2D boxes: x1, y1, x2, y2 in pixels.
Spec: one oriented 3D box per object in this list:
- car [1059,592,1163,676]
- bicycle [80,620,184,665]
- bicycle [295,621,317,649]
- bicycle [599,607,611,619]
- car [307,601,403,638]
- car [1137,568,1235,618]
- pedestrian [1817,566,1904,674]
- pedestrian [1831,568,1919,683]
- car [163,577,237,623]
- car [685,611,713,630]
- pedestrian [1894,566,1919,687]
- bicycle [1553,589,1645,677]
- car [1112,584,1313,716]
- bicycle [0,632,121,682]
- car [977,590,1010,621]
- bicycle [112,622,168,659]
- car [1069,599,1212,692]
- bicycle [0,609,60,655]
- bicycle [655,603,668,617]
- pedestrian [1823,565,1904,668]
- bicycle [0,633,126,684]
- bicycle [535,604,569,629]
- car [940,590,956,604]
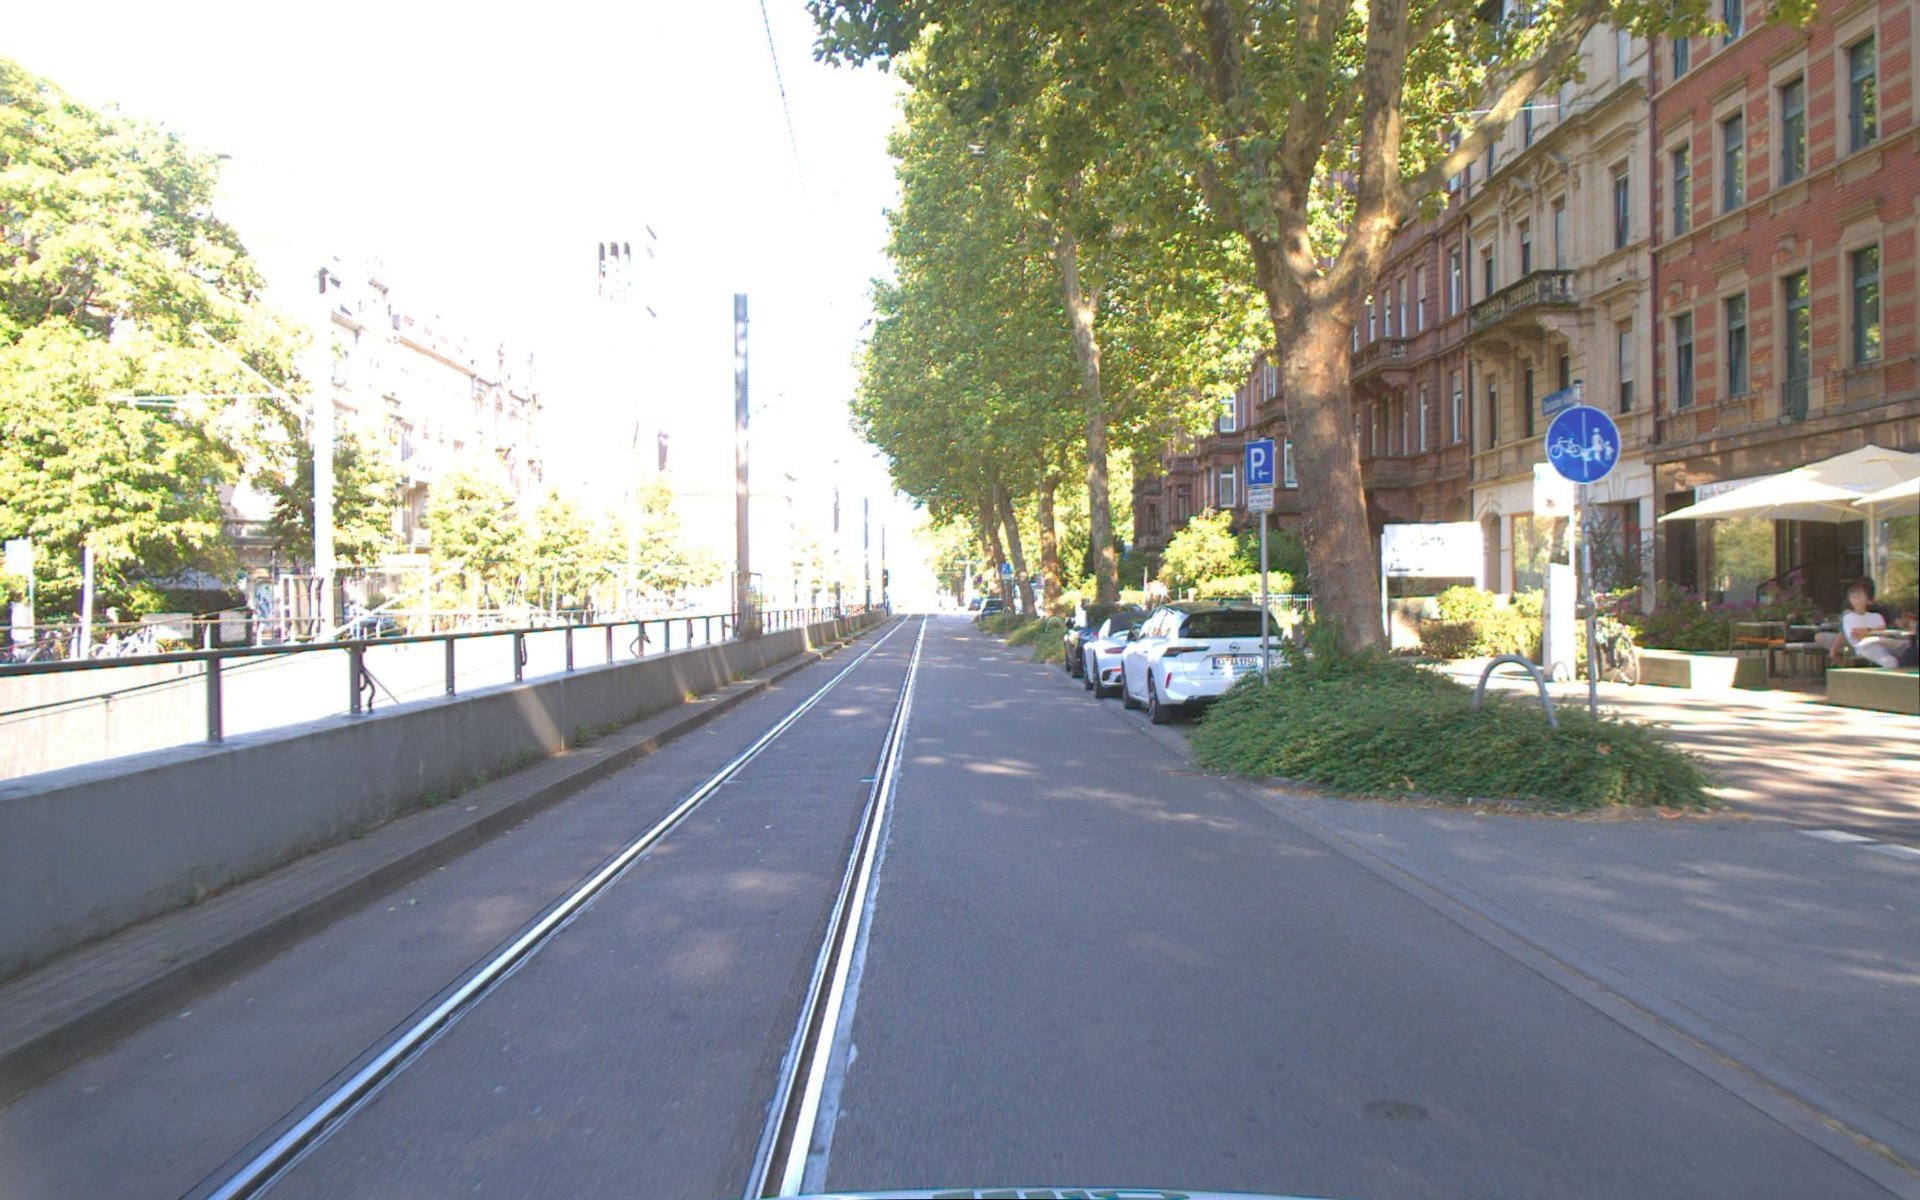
[{"bbox_3d":[3.010,0.641,33.761,1.696,1.563,4.805,-1,0,0],"label":"car"},{"bbox_3d":[-21.366,1.108,42.711,2.344,1.117,0.551,2,0,-32],"label":"bicycle"},{"bbox_3d":[-24.987,1.343,63.153,0.449,1.023,1.923,2,-3,-32],"label":"bicycle"},{"bbox_3d":[-25.986,0.963,120.992,0.408,0.814,1.888,2,0,2],"label":"bicycle"},{"bbox_3d":[-28.055,0.902,76.785,3.914,1.653,1.821,0,0,-10],"label":"car"},{"bbox_3d":[10.462,-0.335,76.753,4.093,2.048,1.999,-3,0,-3],"label":"car"},{"bbox_3d":[11.233,0.246,20.645,0.698,1.323,0.662,-1,0,-1],"label":"pedestrian"},{"bbox_3d":[10.837,0.293,19.572,0.698,1.323,0.662,-1,0,-2],"label":"pedestrian"},{"bbox_3d":[-32.601,-0.028,71.087,1.959,1.881,4.466,2,0,-13],"label":"car"},{"bbox_3d":[-23.175,1.825,147.229,1.680,1.582,4.510,2,0,1],"label":"car"},{"bbox_3d":[10.867,0.286,18.283,0.698,1.323,0.662,-1,0,-2],"label":"pedestrian"},{"bbox_3d":[8.967,0.440,23.274,0.465,1.163,1.895,-3,0,-1],"label":"bicycle"},{"bbox_3d":[3.152,0.574,21.559,1.766,1.503,4.645,-1,0,-2],"label":"car"},{"bbox_3d":[-21.269,1.330,38.806,2.753,1.117,0.635,1,0,-34],"label":"bicycle"},{"bbox_3d":[1.816,0.274,91.255,1.584,1.615,4.415,-2,0,-2],"label":"car"},{"bbox_3d":[-21.473,1.066,43.324,1.252,0.921,0.533,2,0,-32],"label":"bicycle"},{"bbox_3d":[2.837,0.679,26.773,1.793,1.350,3.999,-1,0,-1],"label":"car"},{"bbox_3d":[-24.421,0.814,43.213,0.544,1.117,2.375,2,0,-1],"label":"bicycle"},{"bbox_3d":[-22.891,0.746,126.874,0.479,1.040,1.878,2,0,-24],"label":"bicycle"},{"bbox_3d":[11.921,0.217,21.841,0.698,1.323,0.663,-1,0,0],"label":"pedestrian"},{"bbox_3d":[-20.863,1.345,38.253,2.753,1.117,0.635,1,0,-34],"label":"bicycle"},{"bbox_3d":[-22.195,0.881,89.944,1.694,1.302,0.600,-1,0,5],"label":"bicycle"},{"bbox_3d":[-1.360,-0.311,188.905,1.710,1.487,3.643,2,0,-2],"label":"car"}]
